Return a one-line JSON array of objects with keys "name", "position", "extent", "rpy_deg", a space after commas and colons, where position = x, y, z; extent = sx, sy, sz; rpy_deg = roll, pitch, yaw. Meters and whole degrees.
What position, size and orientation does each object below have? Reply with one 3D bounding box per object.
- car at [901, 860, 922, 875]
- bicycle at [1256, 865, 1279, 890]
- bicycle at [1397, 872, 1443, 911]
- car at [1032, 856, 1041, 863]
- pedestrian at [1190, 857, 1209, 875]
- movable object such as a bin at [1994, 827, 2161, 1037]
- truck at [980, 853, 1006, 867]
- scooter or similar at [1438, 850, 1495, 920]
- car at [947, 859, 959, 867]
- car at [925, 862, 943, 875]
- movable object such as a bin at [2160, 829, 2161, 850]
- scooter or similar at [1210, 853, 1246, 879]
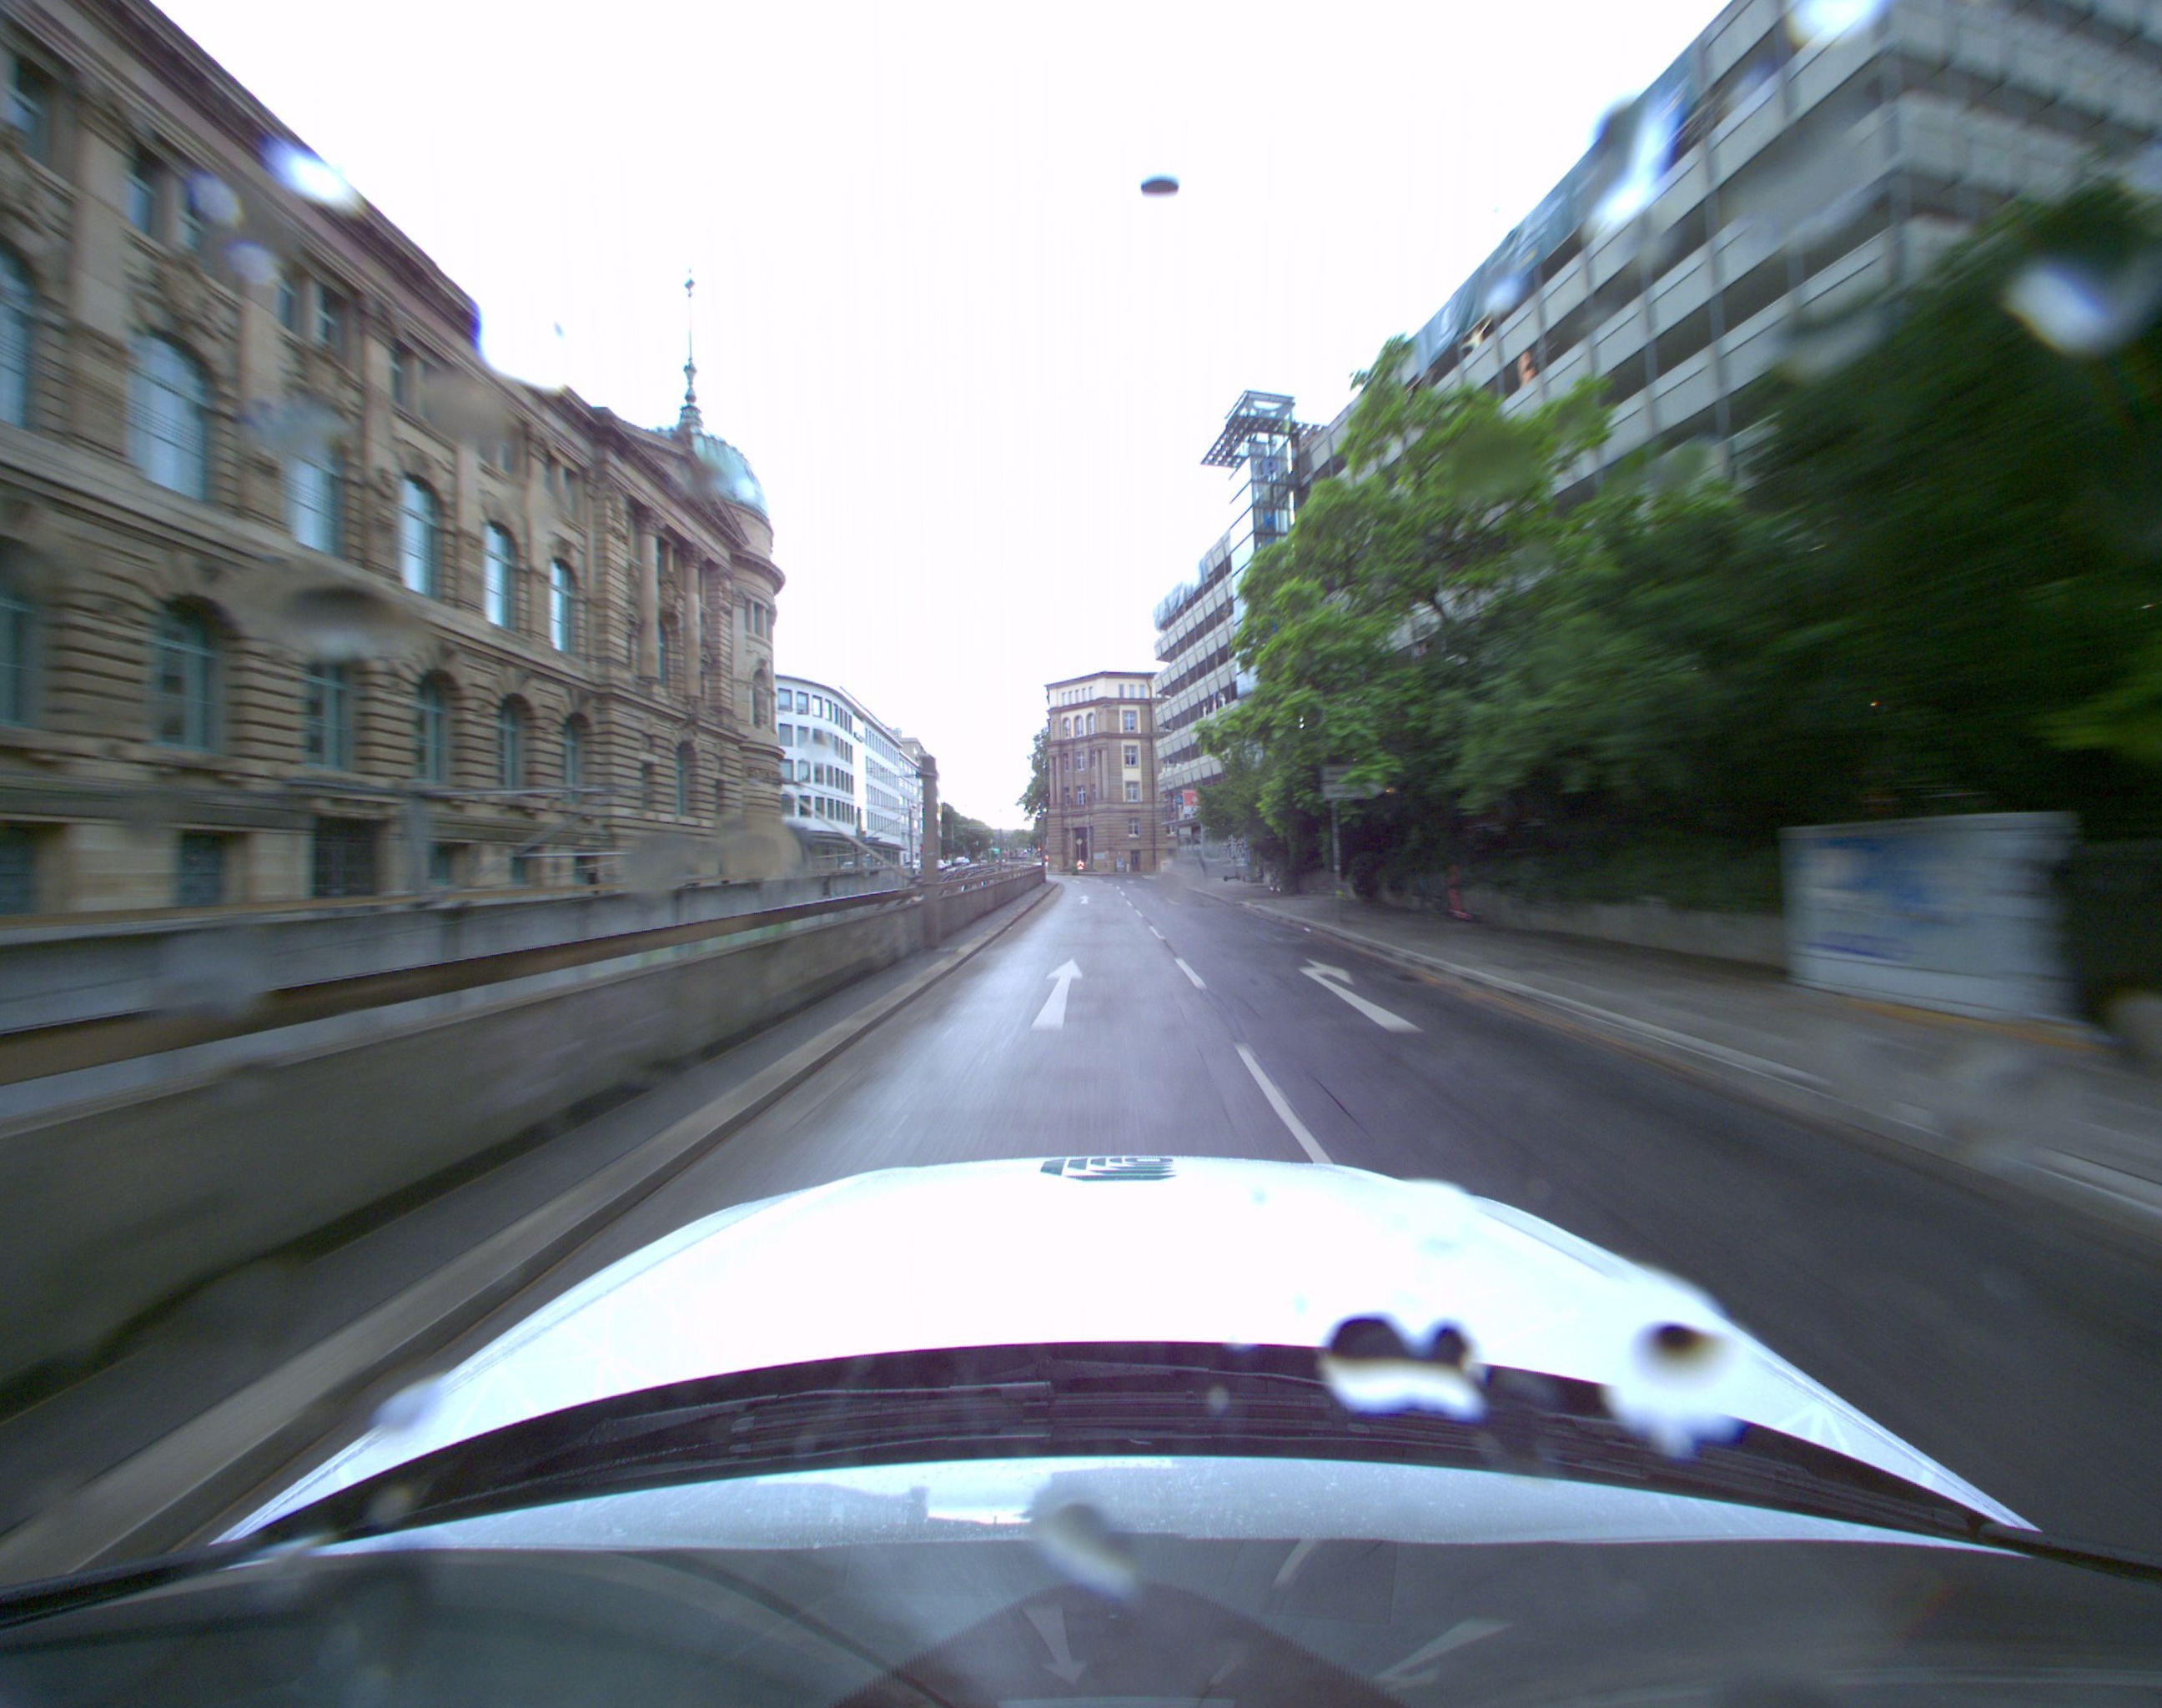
[{"name": "car", "position": [-21.992, 1.703, 105.844], "extent": [1.990, 1.883, 4.920], "rpy_deg": [-1, 0, -4]}, {"name": "bicycle", "position": [6.970, 0.866, 30.501], "extent": [0.468, 0.885, 1.690], "rpy_deg": [-2, 0, 2]}, {"name": "bicycle", "position": [7.399, 0.805, 17.812], "extent": [0.499, 0.754, 1.211], "rpy_deg": [-4, 0, 1]}, {"name": "car", "position": [-10.458, 1.236, 189.399], "extent": [1.990, 1.662, 3.994], "rpy_deg": [-1, 0, -4]}, {"name": "pedestrian", "position": [7.650, 0.784, 52.621], "extent": [0.753, 1.123, 1.241], "rpy_deg": [-1, 0, -13]}, {"name": "movable object such as a bin", "position": [7.592, 0.490, 5.564], "extent": [1.234, 1.310, 1.234], "rpy_deg": [-4, -1, 2]}, {"name": "truck", "position": [-23.158, 1.546, 213.161], "extent": [7.828, 3.387, 2.012], "rpy_deg": [0, 0, 42]}, {"name": "scooter or similar", "position": [7.255, 0.562, 15.384], "extent": [0.445, 1.259, 1.211], "rpy_deg": [-4, 0, 1]}, {"name": "car", "position": [-24.755, 1.764, 157.524], "extent": [1.990, 1.456, 4.305], "rpy_deg": [-1, 0, -4]}, {"name": "car", "position": [-19.490, 1.898, 107.969], "extent": [1.990, 1.527, 3.657], "rpy_deg": [-1, 0, -4]}, {"name": "movable object such as a bin", "position": [8.876, 0.414, 5.579], "extent": [1.234, 1.310, 1.234], "rpy_deg": [-4, -1, 2]}, {"name": "scooter or similar", "position": [7.675, 0.622, 42.433], "extent": [1.643, 1.267, 0.737], "rpy_deg": [-4, 0, -24]}]
